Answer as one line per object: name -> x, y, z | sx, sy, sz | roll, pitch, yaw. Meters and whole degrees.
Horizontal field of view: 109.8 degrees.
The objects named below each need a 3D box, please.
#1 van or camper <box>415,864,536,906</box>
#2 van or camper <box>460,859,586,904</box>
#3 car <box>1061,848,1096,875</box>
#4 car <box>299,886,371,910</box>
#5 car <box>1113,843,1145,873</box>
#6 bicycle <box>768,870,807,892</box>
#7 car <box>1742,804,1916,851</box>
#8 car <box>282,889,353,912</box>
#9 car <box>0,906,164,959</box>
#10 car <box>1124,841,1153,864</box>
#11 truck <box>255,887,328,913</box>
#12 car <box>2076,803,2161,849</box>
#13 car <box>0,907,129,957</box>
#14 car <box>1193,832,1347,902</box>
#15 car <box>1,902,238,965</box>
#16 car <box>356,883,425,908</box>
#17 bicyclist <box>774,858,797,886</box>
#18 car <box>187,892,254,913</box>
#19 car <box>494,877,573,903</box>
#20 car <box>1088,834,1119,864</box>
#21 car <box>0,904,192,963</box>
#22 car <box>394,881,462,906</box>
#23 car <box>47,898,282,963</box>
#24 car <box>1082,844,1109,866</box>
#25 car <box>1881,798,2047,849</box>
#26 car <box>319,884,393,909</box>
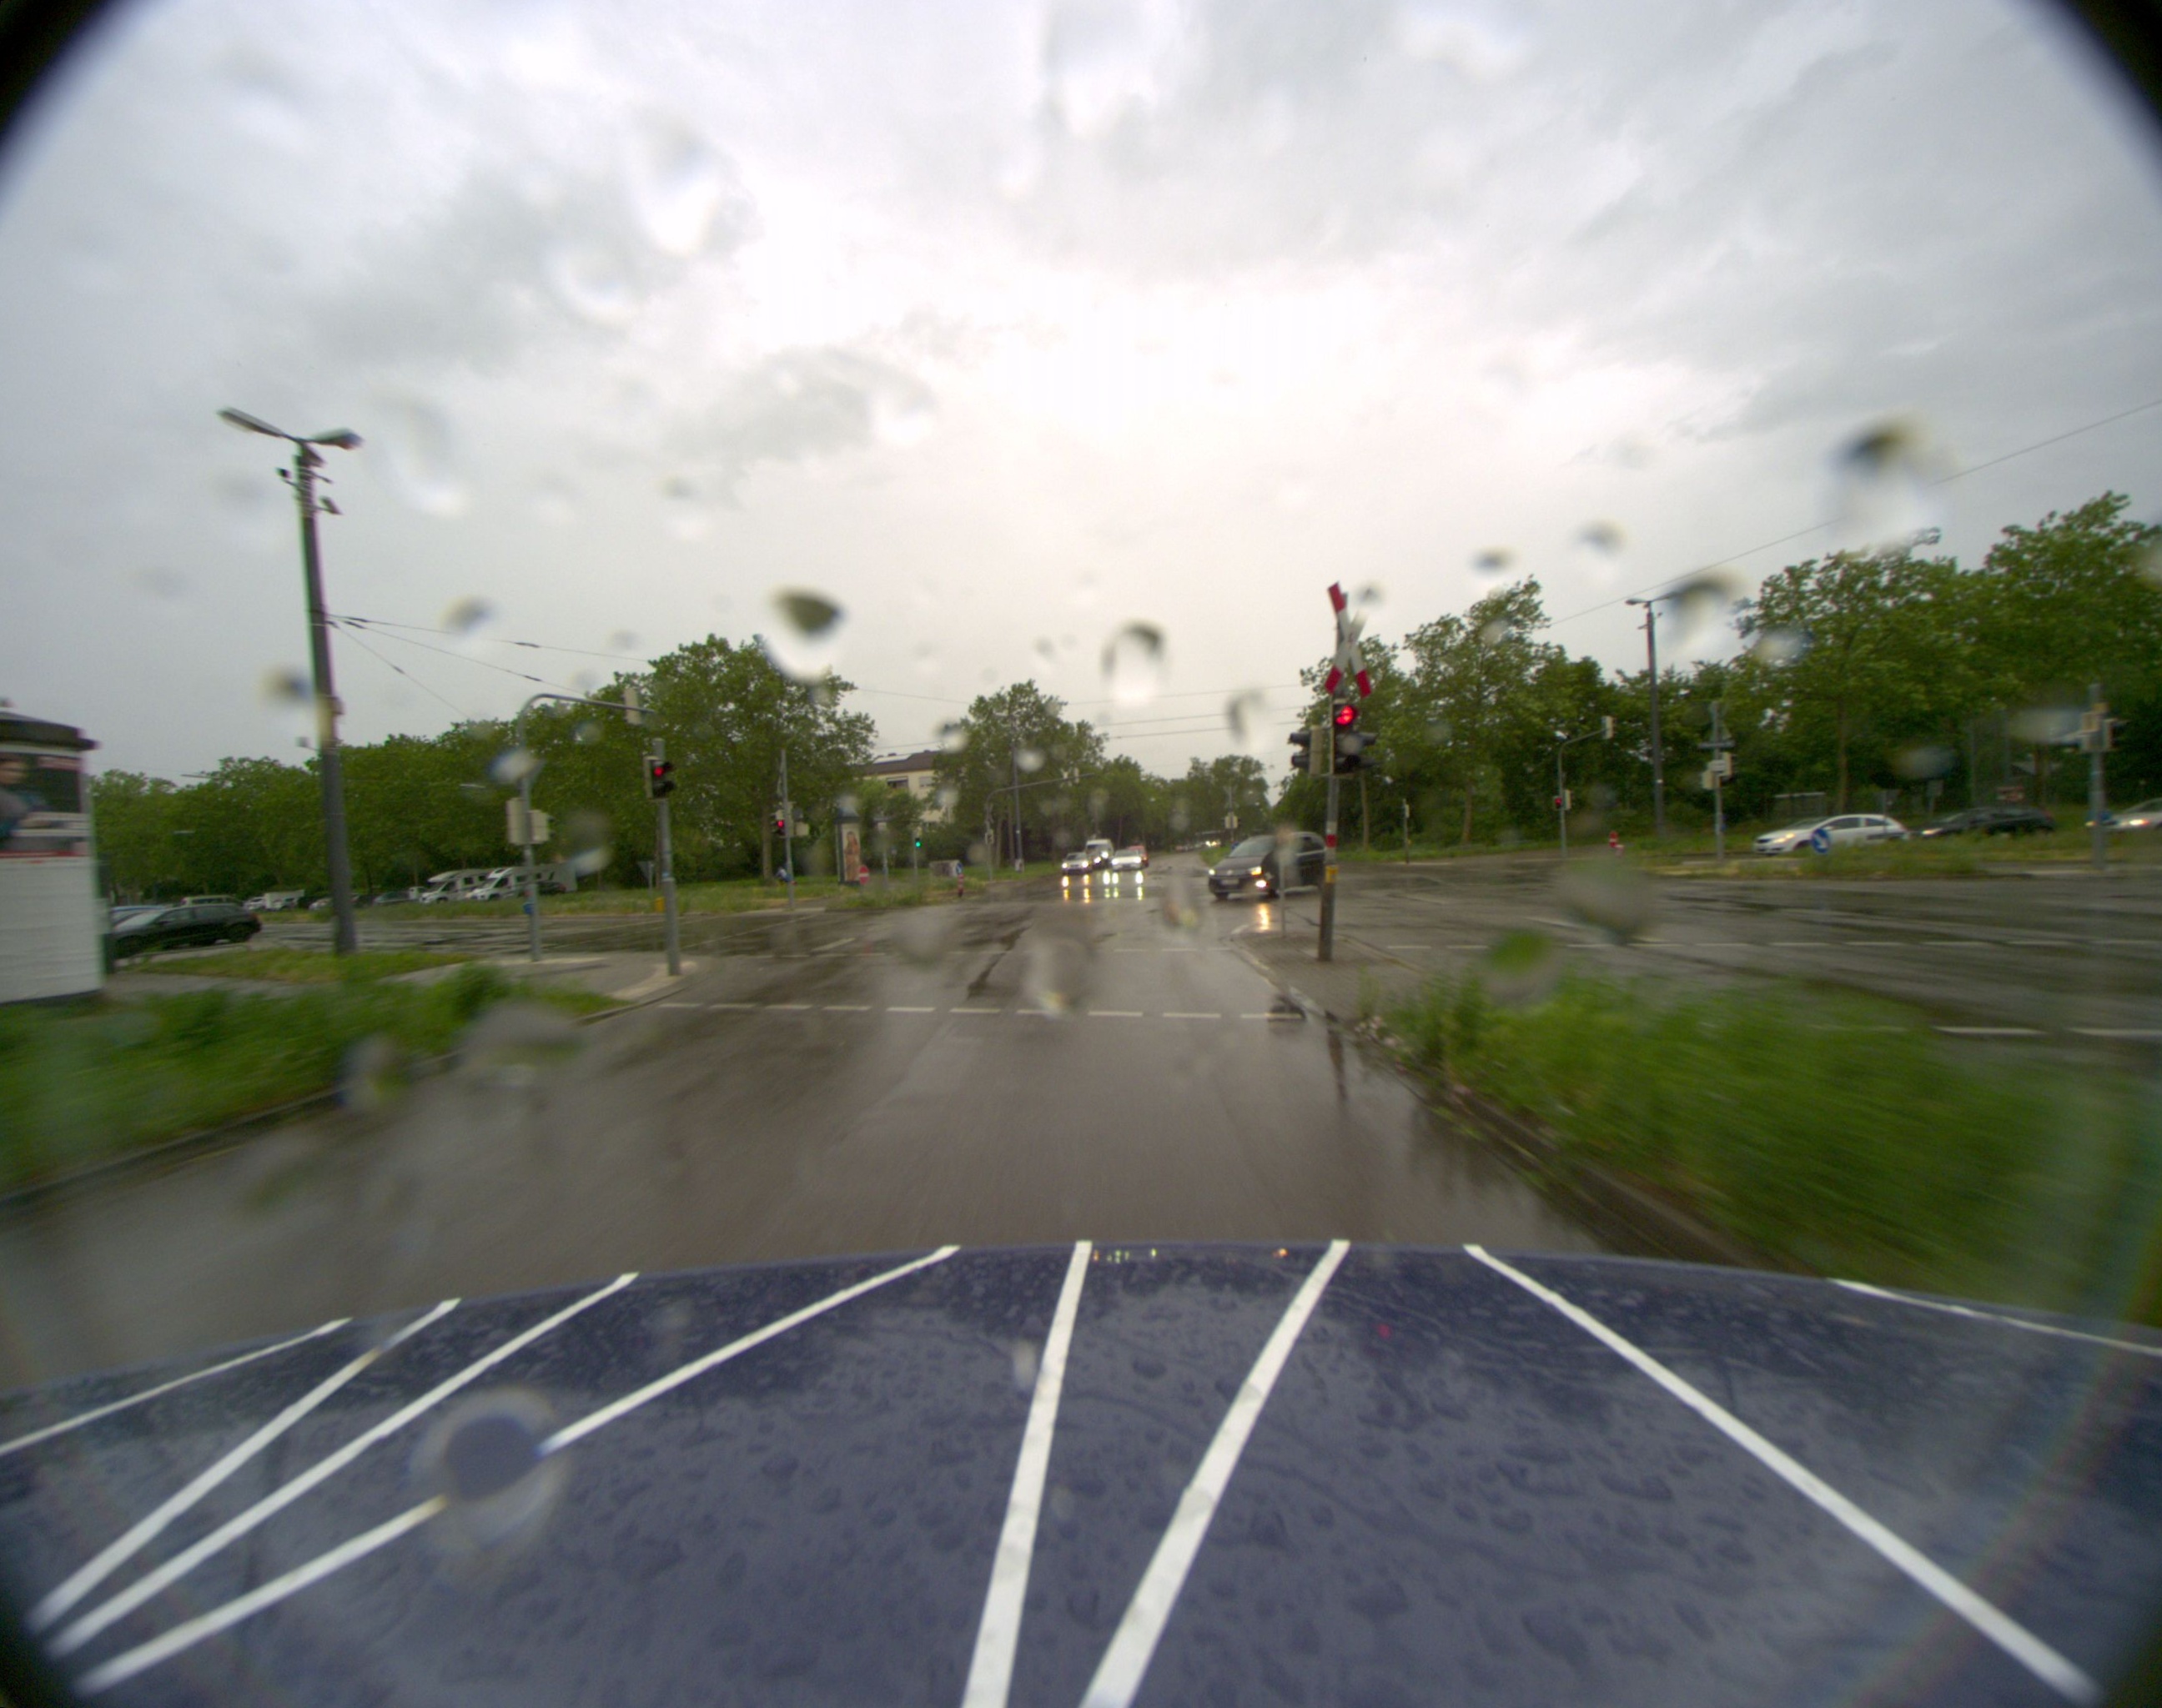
van or camper -> -52.671, 2.674, 66.313 | 3.254, 3.159, 7.464 | -3, 0, 33
van or camper -> -45.072, 2.196, 61.642 | 3.254, 3.159, 7.359 | -3, 0, 29
car -> -0.109, 0.497, 51.039 | 1.932, 1.681, 4.409 | -3, 0, 5
car -> -75.356, 4.437, 76.834 | 2.424, 2.002, 4.747 | -3, 0, 36
car -> 3.278, 0.280, 50.904 | 1.932, 1.817, 4.610 | -3, 0, 5
bicycle -> -16.546, 1.514, 42.863 | 1.883, 1.110, 0.693 | -4, 0, 8
car -> 26.067, -0.891, 26.616 | 3.992, 1.355, 1.791 | -3, 0, 10
car -> -79.505, 4.842, 79.188 | 2.424, 2.002, 4.747 | -3, 0, 34
car -> -39.945, 3.066, 30.226 | 1.928, 1.573, 3.999 | -4, 1, 0
car -> 4.398, -0.125, 57.368 | 1.788, 1.597, 4.622 | -3, 0, 8
truck -> -82.929, 4.816, 79.865 | 2.424, 2.324, 4.747 | -3, 0, 31
car -> 35.753, -0.975, 24.867 | 3.790, 1.395, 1.790 | -3, 0, 3
car -> -42.880, 3.223, 31.372 | 1.929, 1.631, 4.120 | -4, 1, -3
car -> 5.156, 0.310, 20.387 | 1.863, 1.592, 4.533 | -4, 0, 45
car -> -32.270, 2.605, 25.754 | 1.855, 1.410, 4.514 | -3, 2, 12
car -> -63.829, 3.796, 70.266 | 1.962, 1.933, 4.320 | -3, 0, 36
bicyclist -> -16.668, 0.998, 42.869 | 0.843, 1.497, 0.693 | -4, 0, 8
car -> -99.106, 5.523, 87.585 | 2.039, 2.002, 4.658 | -3, 0, 26
car -> -42.345, 2.753, 58.869 | 1.995, 1.706, 4.467 | -3, 0, 32
car -> 1.974, -0.424, 65.852 | 1.997, 2.378, 5.626 | -3, 0, 8
car -> -35.407, 2.803, 27.297 | 1.855, 1.573, 4.004 | -3, 1, 15
car -> -59.541, 3.606, 69.324 | 2.180, 2.002, 4.195 | -3, 0, 36
car -> -29.946, 2.441, 25.097 | 1.855, 1.410, 4.494 | -3, 2, 12
car -> 1.164, 0.099, 59.334 | 1.789, 1.597, 4.070 | -3, 0, 5
car -> 33.347, -1.115, 28.799 | 3.804, 1.608, 1.874 | -3, 0, 7
car -> -70.353, 4.118, 73.768 | 2.424, 2.002, 4.747 | -3, 0, 36
